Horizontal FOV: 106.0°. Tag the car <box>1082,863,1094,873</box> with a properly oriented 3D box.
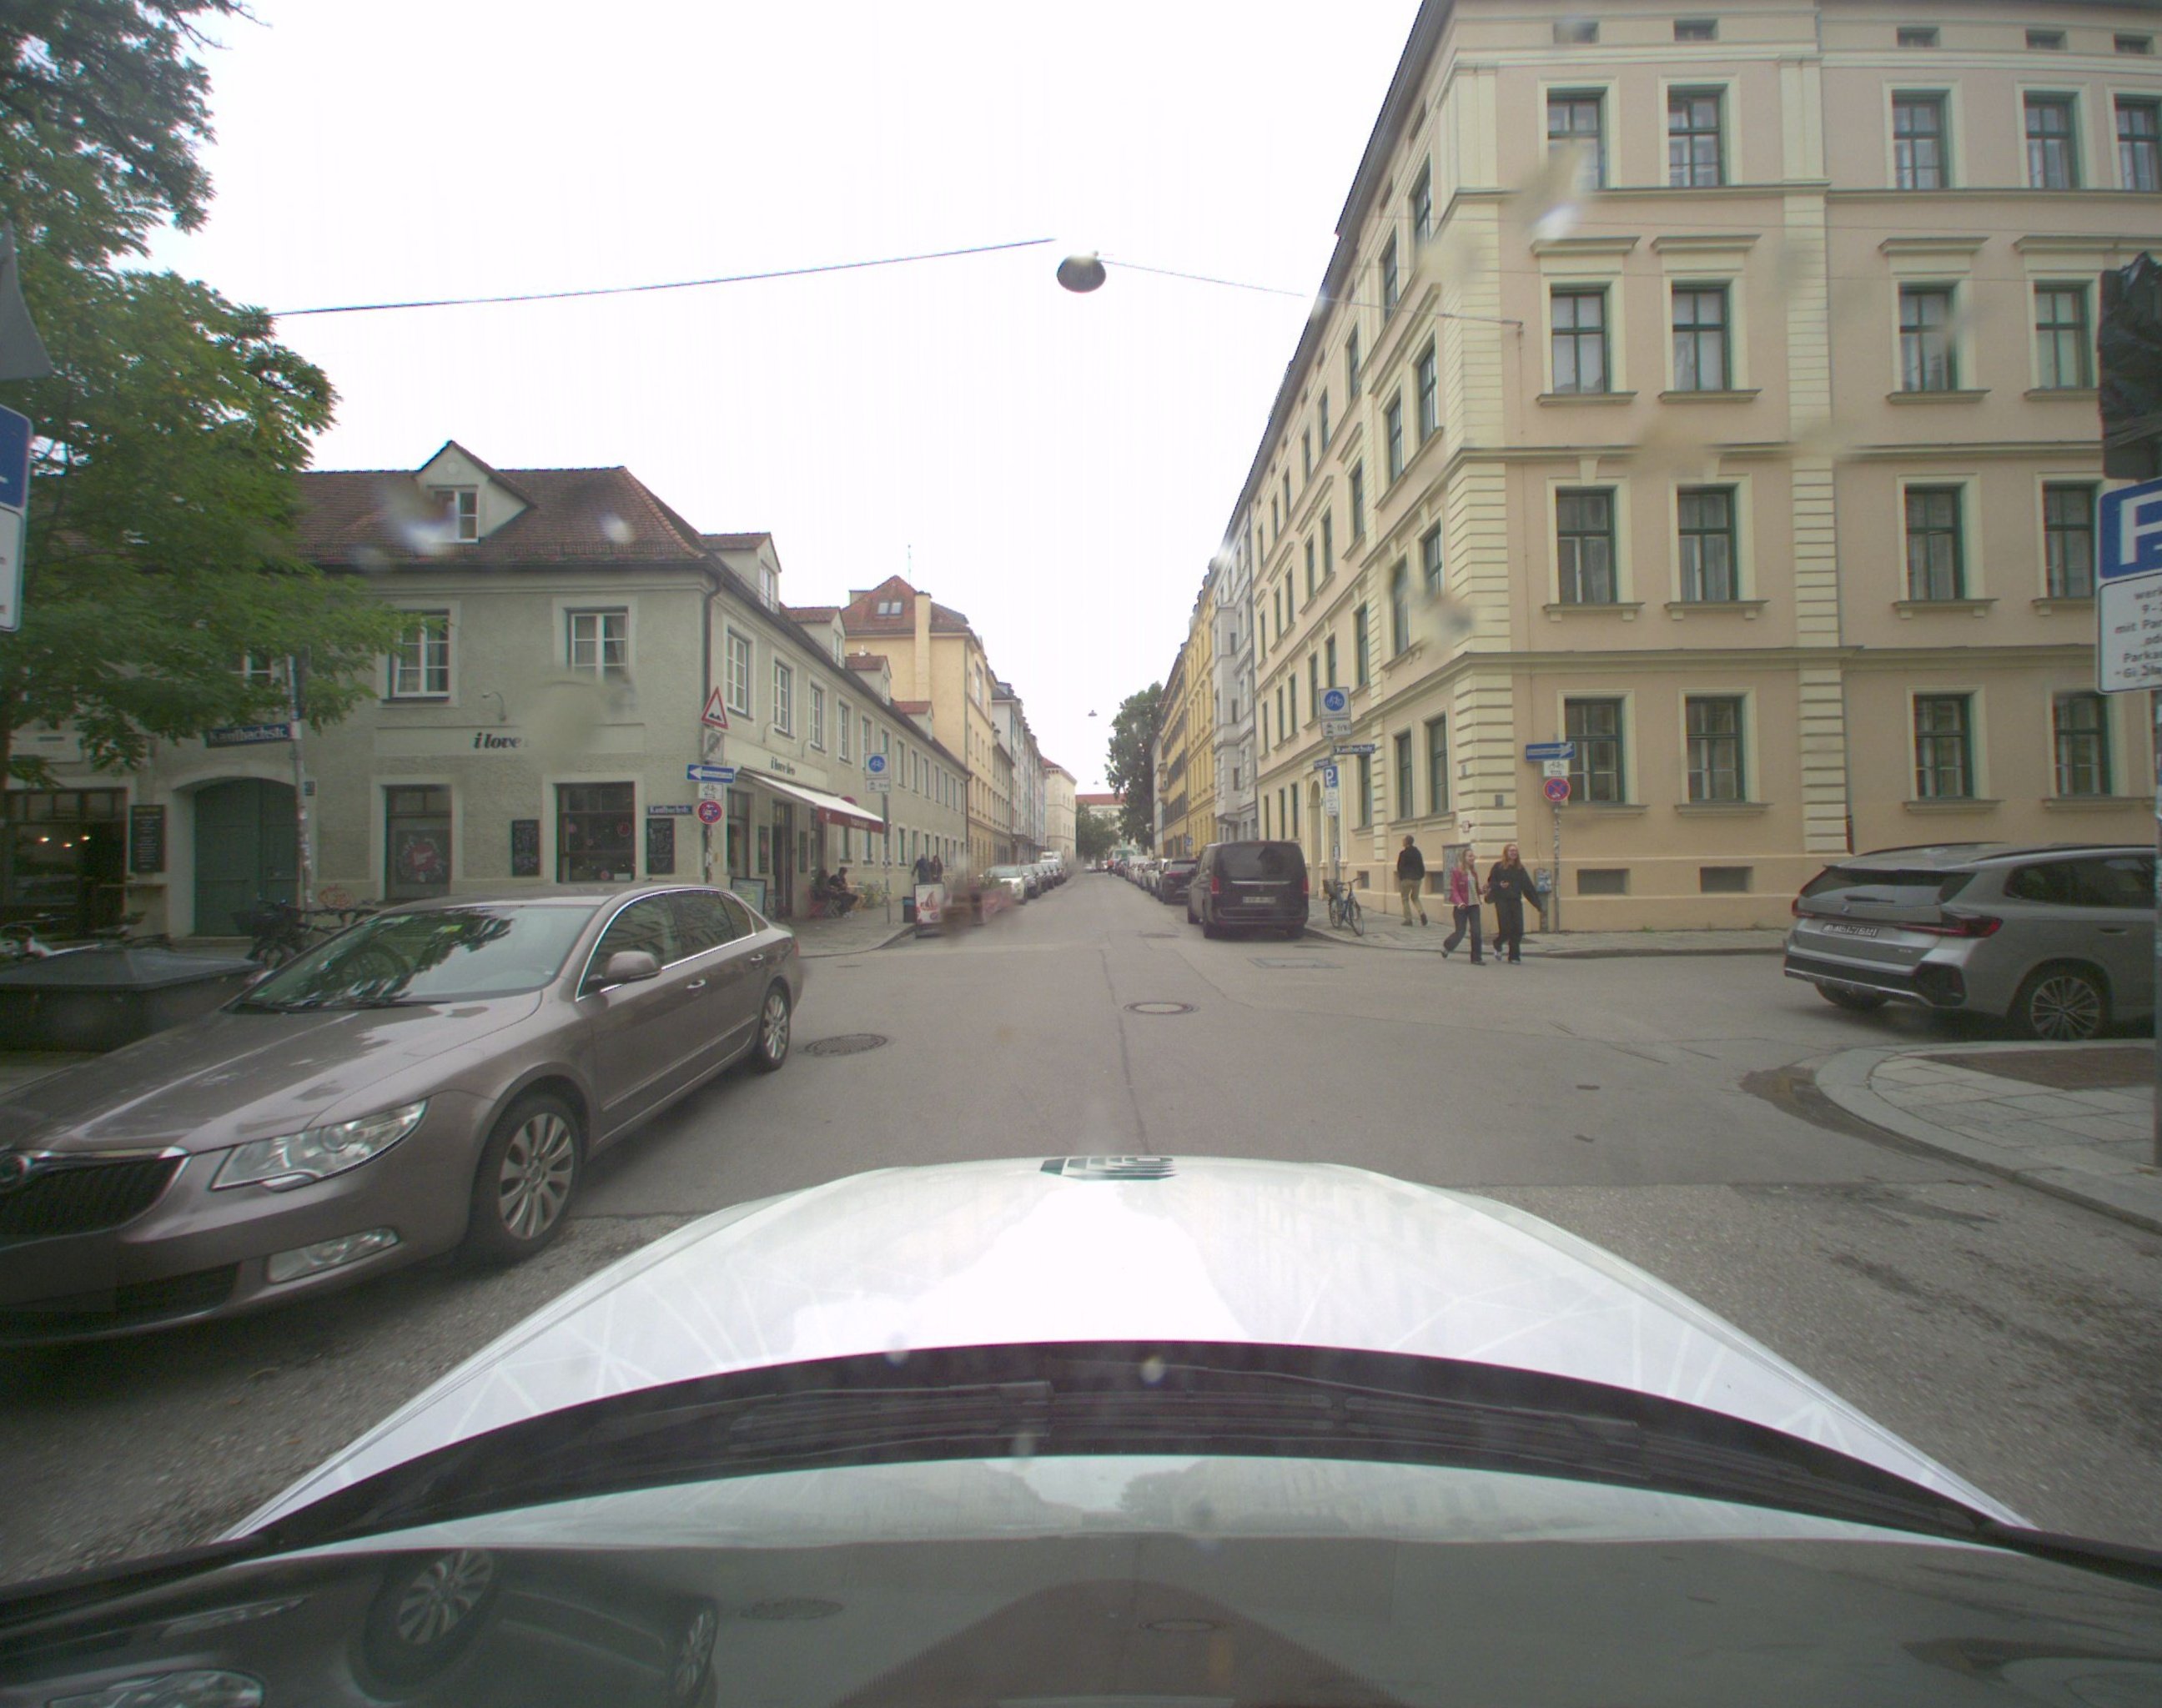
[{"bbox_3d":[1.200,2.420,138.459,1.699,1.581,3.866,-2,-1,4],"label":"car"}]

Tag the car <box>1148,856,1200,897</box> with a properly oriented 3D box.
[{"bbox_3d":[3.837,0.920,34.172,1.737,1.583,4.467,-1,-1,1],"label":"car"}]

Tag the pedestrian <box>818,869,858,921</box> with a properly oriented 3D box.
[{"bbox_3d":[-6.278,1.055,21.061,0.800,1.290,0.693,-2,-2,1],"label":"pedestrian"}]

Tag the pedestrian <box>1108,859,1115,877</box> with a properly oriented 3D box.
[{"bbox_3d":[2.978,1.346,78.731,0.639,1.714,0.843,-2,-2,2],"label":"pedestrian"}]

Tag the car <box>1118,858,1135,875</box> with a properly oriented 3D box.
[{"bbox_3d":[4.963,1.339,89.245,1.805,1.797,4.248,0,-1,2],"label":"car"}]

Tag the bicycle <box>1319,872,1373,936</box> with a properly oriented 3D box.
[{"bbox_3d":[5.049,0.920,15.613,0.463,1.052,1.730,-3,2,2],"label":"bicycle"}]

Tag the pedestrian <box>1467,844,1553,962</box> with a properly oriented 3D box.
[{"bbox_3d":[6.168,0.692,11.754,0.656,1.621,0.979,-2,-2,0],"label":"pedestrian"}]

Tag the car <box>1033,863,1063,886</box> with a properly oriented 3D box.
[{"bbox_3d":[-2.050,1.282,51.852,1.749,1.409,4.102,-1,-1,0],"label":"car"}]

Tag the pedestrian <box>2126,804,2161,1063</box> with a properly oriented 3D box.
[{"bbox_3d":[7.197,0.496,5.073,0.633,1.647,0.525,-1,-2,-7],"label":"pedestrian"}]

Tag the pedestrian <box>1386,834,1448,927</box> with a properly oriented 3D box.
[{"bbox_3d":[6.470,0.504,15.709,0.716,1.717,1.003,-2,-2,0],"label":"pedestrian"}]

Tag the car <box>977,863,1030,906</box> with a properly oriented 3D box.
[{"bbox_3d":[-2.857,1.100,30.611,1.750,1.475,3.711,0,-1,-2],"label":"car"}]

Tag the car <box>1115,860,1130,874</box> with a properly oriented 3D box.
[{"bbox_3d":[5.227,1.637,103.154,1.805,1.614,4.157,-2,-1,2],"label":"car"}]

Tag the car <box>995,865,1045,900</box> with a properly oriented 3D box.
[{"bbox_3d":[-2.625,1.212,35.870,1.792,1.339,4.685,-1,0,0],"label":"car"}]

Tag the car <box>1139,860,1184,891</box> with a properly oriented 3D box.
[{"bbox_3d":[3.935,1.029,40.395,1.703,1.404,4.205,-1,-1,-1],"label":"car"}]

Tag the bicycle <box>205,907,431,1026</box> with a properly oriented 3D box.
[{"bbox_3d":[-7.162,1.037,7.664,1.810,1.035,0.392,1,0,3],"label":"bicycle"}]

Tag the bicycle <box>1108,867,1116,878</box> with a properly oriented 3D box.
[{"bbox_3d":[3.000,1.791,78.737,0.673,1.095,1.760,-2,-2,2],"label":"bicycle"}]

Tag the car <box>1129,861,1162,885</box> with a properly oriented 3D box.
[{"bbox_3d":[4.130,1.226,52.724,1.703,1.454,4.094,-1,-1,-1],"label":"car"}]

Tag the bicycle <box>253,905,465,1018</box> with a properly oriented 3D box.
[{"bbox_3d":[-7.135,1.050,8.068,1.810,1.035,0.392,1,0,3],"label":"bicycle"}]

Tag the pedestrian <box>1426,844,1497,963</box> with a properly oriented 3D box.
[{"bbox_3d":[5.456,0.697,11.728,0.470,1.625,1.069,-2,-2,0],"label":"pedestrian"}]

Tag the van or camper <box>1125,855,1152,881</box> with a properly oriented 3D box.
[{"bbox_3d":[4.349,1.081,62.492,1.827,1.872,5.080,-1,-1,1],"label":"van or camper"}]

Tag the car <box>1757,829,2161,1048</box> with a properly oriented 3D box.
[{"bbox_3d":[8.787,0.632,7.278,4.076,1.605,1.754,-2,1,-1],"label":"car"}]

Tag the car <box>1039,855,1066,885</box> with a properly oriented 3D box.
[{"bbox_3d":[-2.016,1.128,56.800,1.751,1.995,4.620,-1,-1,-3],"label":"car"}]

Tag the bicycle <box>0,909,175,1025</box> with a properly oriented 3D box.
[{"bbox_3d":[-9.716,1.039,7.706,0.379,0.966,1.714,1,-2,-2],"label":"bicycle"}]

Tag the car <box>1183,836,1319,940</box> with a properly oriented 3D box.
[{"bbox_3d":[3.393,0.637,17.329,1.989,1.864,5.256,-1,-1,2],"label":"car"}]

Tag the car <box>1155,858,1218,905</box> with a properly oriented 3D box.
[{"bbox_3d":[3.657,0.925,28.761,1.748,1.521,4.275,-1,-1,1],"label":"car"}]

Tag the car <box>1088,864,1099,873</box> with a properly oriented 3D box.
[{"bbox_3d":[2.176,2.594,144.583,1.699,1.581,3.866,-2,-1,4],"label":"car"}]

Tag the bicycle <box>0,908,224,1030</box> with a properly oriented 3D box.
[{"bbox_3d":[-9.223,1.028,7.732,0.379,0.966,1.714,1,-2,-2],"label":"bicycle"}]

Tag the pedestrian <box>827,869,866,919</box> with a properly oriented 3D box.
[{"bbox_3d":[-6.262,1.074,21.785,0.800,1.290,0.693,-2,-2,1],"label":"pedestrian"}]

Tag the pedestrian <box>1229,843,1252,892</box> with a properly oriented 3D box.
[{"bbox_3d":[6.704,0.565,34.189,0.667,1.980,0.709,-5,-2,1],"label":"pedestrian"}]

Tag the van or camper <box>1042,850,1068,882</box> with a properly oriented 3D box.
[{"bbox_3d":[-1.947,0.933,62.083,1.749,2.281,5.272,-1,-1,0],"label":"van or camper"}]

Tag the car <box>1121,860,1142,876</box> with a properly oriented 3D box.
[{"bbox_3d":[4.726,1.352,76.960,1.805,1.465,4.247,0,-1,1],"label":"car"}]

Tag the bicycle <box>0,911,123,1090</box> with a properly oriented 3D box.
[{"bbox_3d":[-8.893,1.040,5.974,2.830,1.212,0.818,0,-2,3],"label":"bicycle"}]

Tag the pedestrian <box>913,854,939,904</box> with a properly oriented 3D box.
[{"bbox_3d":[-6.049,0.969,31.740,0.820,1.898,0.827,-2,-2,0],"label":"pedestrian"}]

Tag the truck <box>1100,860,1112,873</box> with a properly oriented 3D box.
[{"bbox_3d":[4.732,2.322,151.670,2.113,2.247,6.186,-2,-2,2],"label":"truck"}]

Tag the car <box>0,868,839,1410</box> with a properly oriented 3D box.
[{"bbox_3d":[-2.988,0.877,4.839,1.674,1.471,4.947,-3,0,-2],"label":"car"}]

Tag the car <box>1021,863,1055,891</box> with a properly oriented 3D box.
[{"bbox_3d":[-2.444,1.272,46.842,1.812,1.441,4.127,-2,0,-3],"label":"car"}]

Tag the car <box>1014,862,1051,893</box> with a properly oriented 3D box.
[{"bbox_3d":[-2.454,1.174,41.831,1.750,1.496,4.197,-1,-1,-2],"label":"car"}]

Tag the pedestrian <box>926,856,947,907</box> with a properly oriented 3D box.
[{"bbox_3d":[-5.160,0.993,29.049,0.526,1.782,0.877,-2,-2,1],"label":"pedestrian"}]

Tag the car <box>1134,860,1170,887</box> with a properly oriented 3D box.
[{"bbox_3d":[4.011,1.083,46.465,1.702,1.408,4.815,-1,-1,1],"label":"car"}]
